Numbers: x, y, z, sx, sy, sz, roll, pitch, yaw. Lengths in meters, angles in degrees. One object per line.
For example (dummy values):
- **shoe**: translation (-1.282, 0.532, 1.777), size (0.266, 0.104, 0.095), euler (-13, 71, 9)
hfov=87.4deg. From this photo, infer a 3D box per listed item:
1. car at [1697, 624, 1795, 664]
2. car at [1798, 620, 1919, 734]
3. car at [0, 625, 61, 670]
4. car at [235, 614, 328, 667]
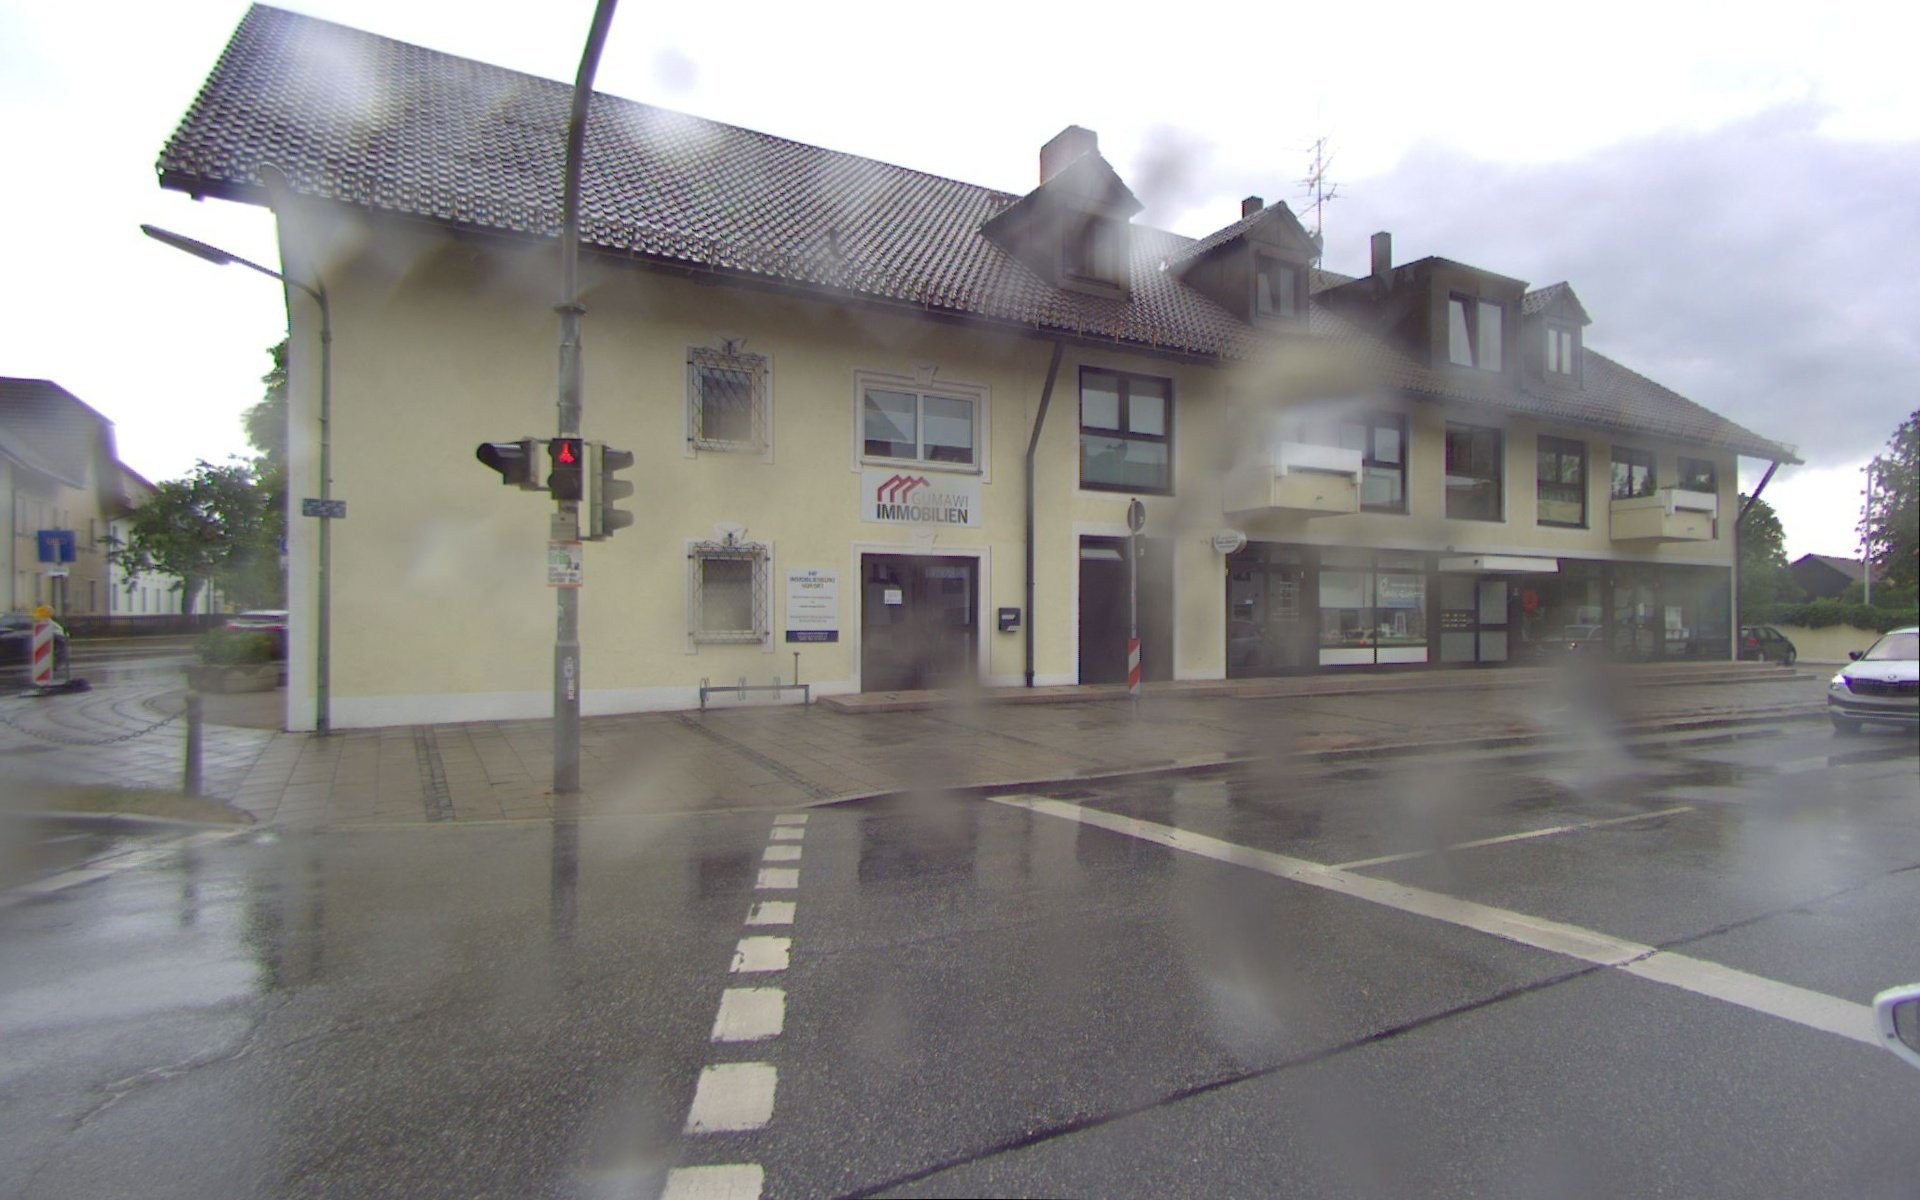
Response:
- **car**: translation (28.436, 1.572, 36.329), size (3.467, 1.398, 1.599), euler (1, -2, -30)
- **car**: translation (14.871, 1.122, 15.301), size (4.103, 1.583, 1.958), euler (1, -2, -30)
- **car**: translation (-23.697, 1.146, 24.162), size (1.400, 1.030, 4.061), euler (1, -1, -16)
- **car**: translation (-23.311, 1.409, 34.663), size (2.062, 1.695, 4.357), euler (1, -3, -27)
